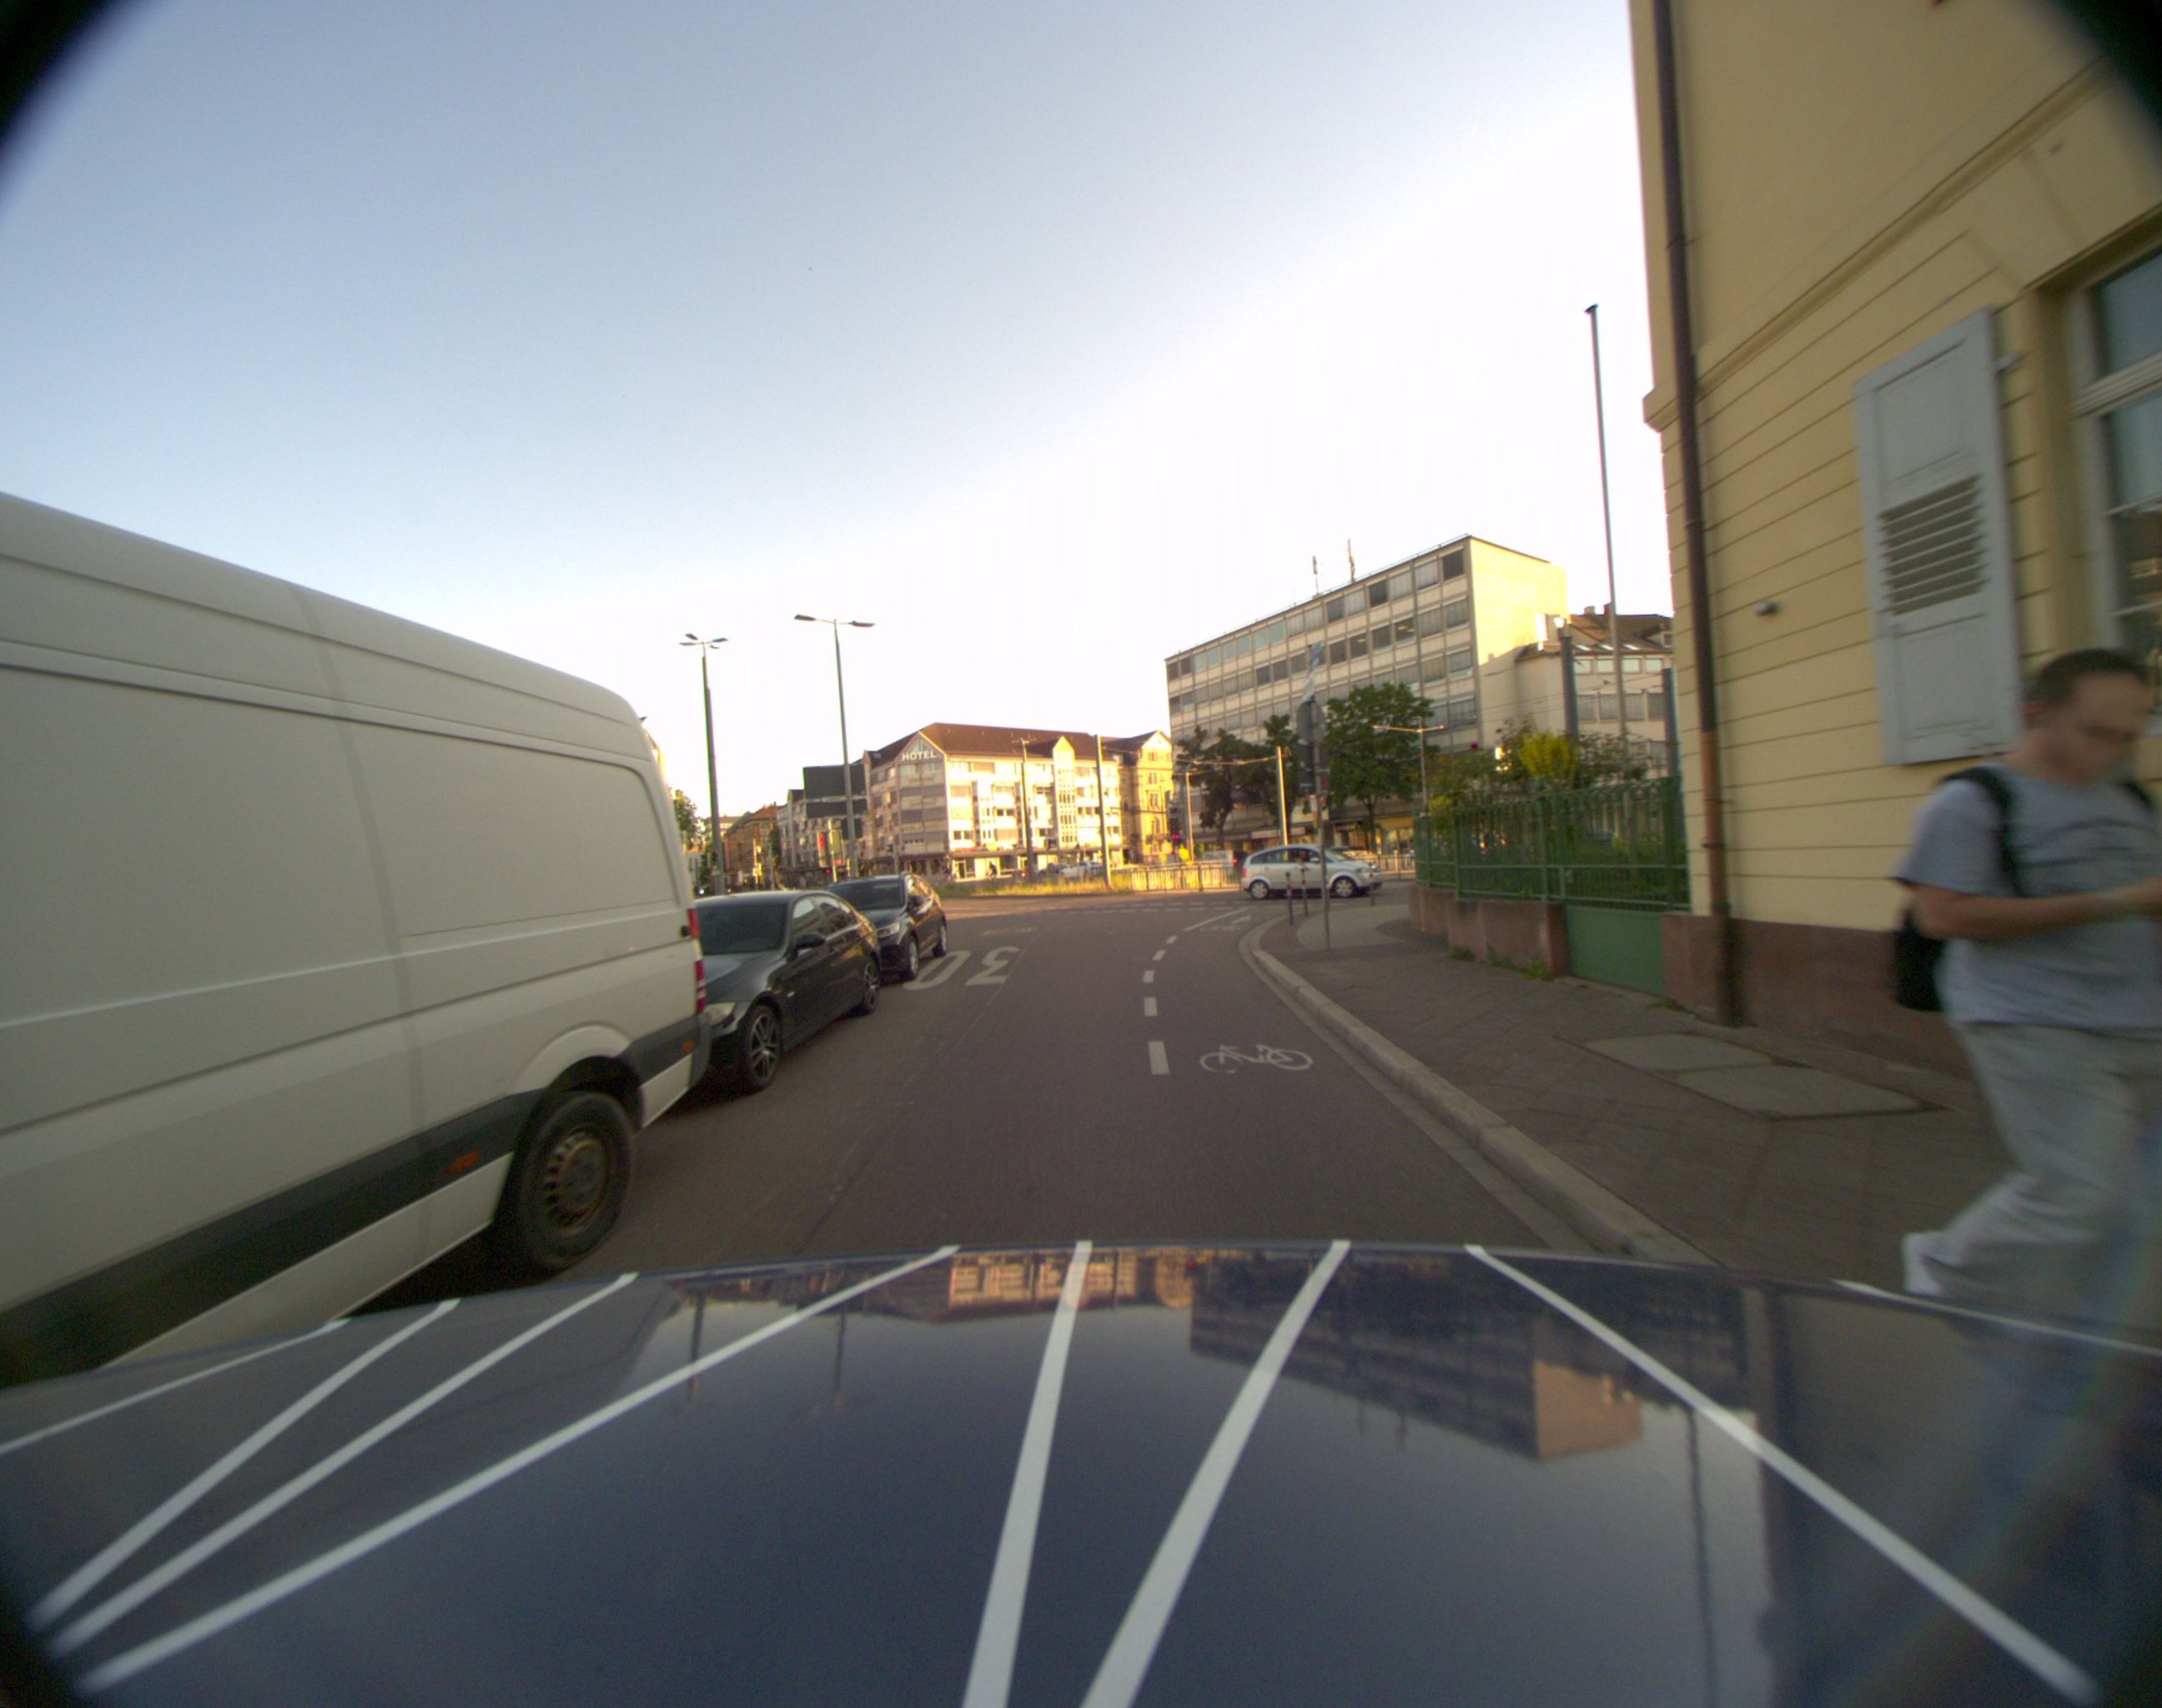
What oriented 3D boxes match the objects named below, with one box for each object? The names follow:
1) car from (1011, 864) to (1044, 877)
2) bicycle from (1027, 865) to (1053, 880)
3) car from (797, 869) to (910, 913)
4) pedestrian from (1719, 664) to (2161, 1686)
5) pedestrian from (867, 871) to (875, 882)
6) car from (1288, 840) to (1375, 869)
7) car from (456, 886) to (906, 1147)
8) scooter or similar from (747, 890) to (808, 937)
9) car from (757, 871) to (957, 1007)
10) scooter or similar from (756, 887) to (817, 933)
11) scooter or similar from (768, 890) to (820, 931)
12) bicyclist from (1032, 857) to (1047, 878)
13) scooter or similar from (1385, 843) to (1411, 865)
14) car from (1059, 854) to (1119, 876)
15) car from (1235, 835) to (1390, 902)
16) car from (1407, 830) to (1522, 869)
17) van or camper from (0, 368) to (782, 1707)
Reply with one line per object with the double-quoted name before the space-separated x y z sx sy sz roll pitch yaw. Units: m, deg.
"car" -6.790 2.147 96.905 3.903 1.413 1.645 -3 -1 -39
"bicycle" -2.883 1.304 53.473 0.722 0.924 1.958 -4 0 37
"car" -9.765 1.577 32.569 4.382 1.608 1.947 -4 0 26
"pedestrian" 2.227 0.513 1.651 0.878 1.714 0.830 -4 0 5
"pedestrian" -31.588 3.366 114.313 0.709 1.539 0.904 -4 0 -38
"car" 14.295 0.044 43.484 4.361 1.427 1.740 -4 0 44
"car" -3.114 1.151 7.166 1.733 1.421 4.474 -4 0 1
"scooter or similar" -9.106 1.782 22.814 1.524 1.252 0.612 -4 0 8
"car" -3.197 1.132 11.808 1.783 1.534 4.290 -4 0 -1
"scooter or similar" -9.070 1.717 23.382 1.651 1.285 0.461 -4 0 8
"scooter or similar" -9.021 1.771 23.888 1.402 1.159 0.461 -4 0 8
"bicyclist" -2.931 0.950 53.446 0.714 1.361 0.685 -4 0 37
"scooter or similar" 19.521 0.000 46.824 1.280 1.314 0.515 -3 0 -3
"car" 0.579 0.849 57.925 2.043 1.433 4.648 -6 3 -38
"car" 6.466 0.423 21.335 3.717 1.552 1.683 -5 1 35
"car" 18.169 -0.179 36.165 2.208 1.550 4.271 -4 0 -31
"van or camper" -3.164 0.447 1.627 2.082 2.758 6.450 -4 0 2
